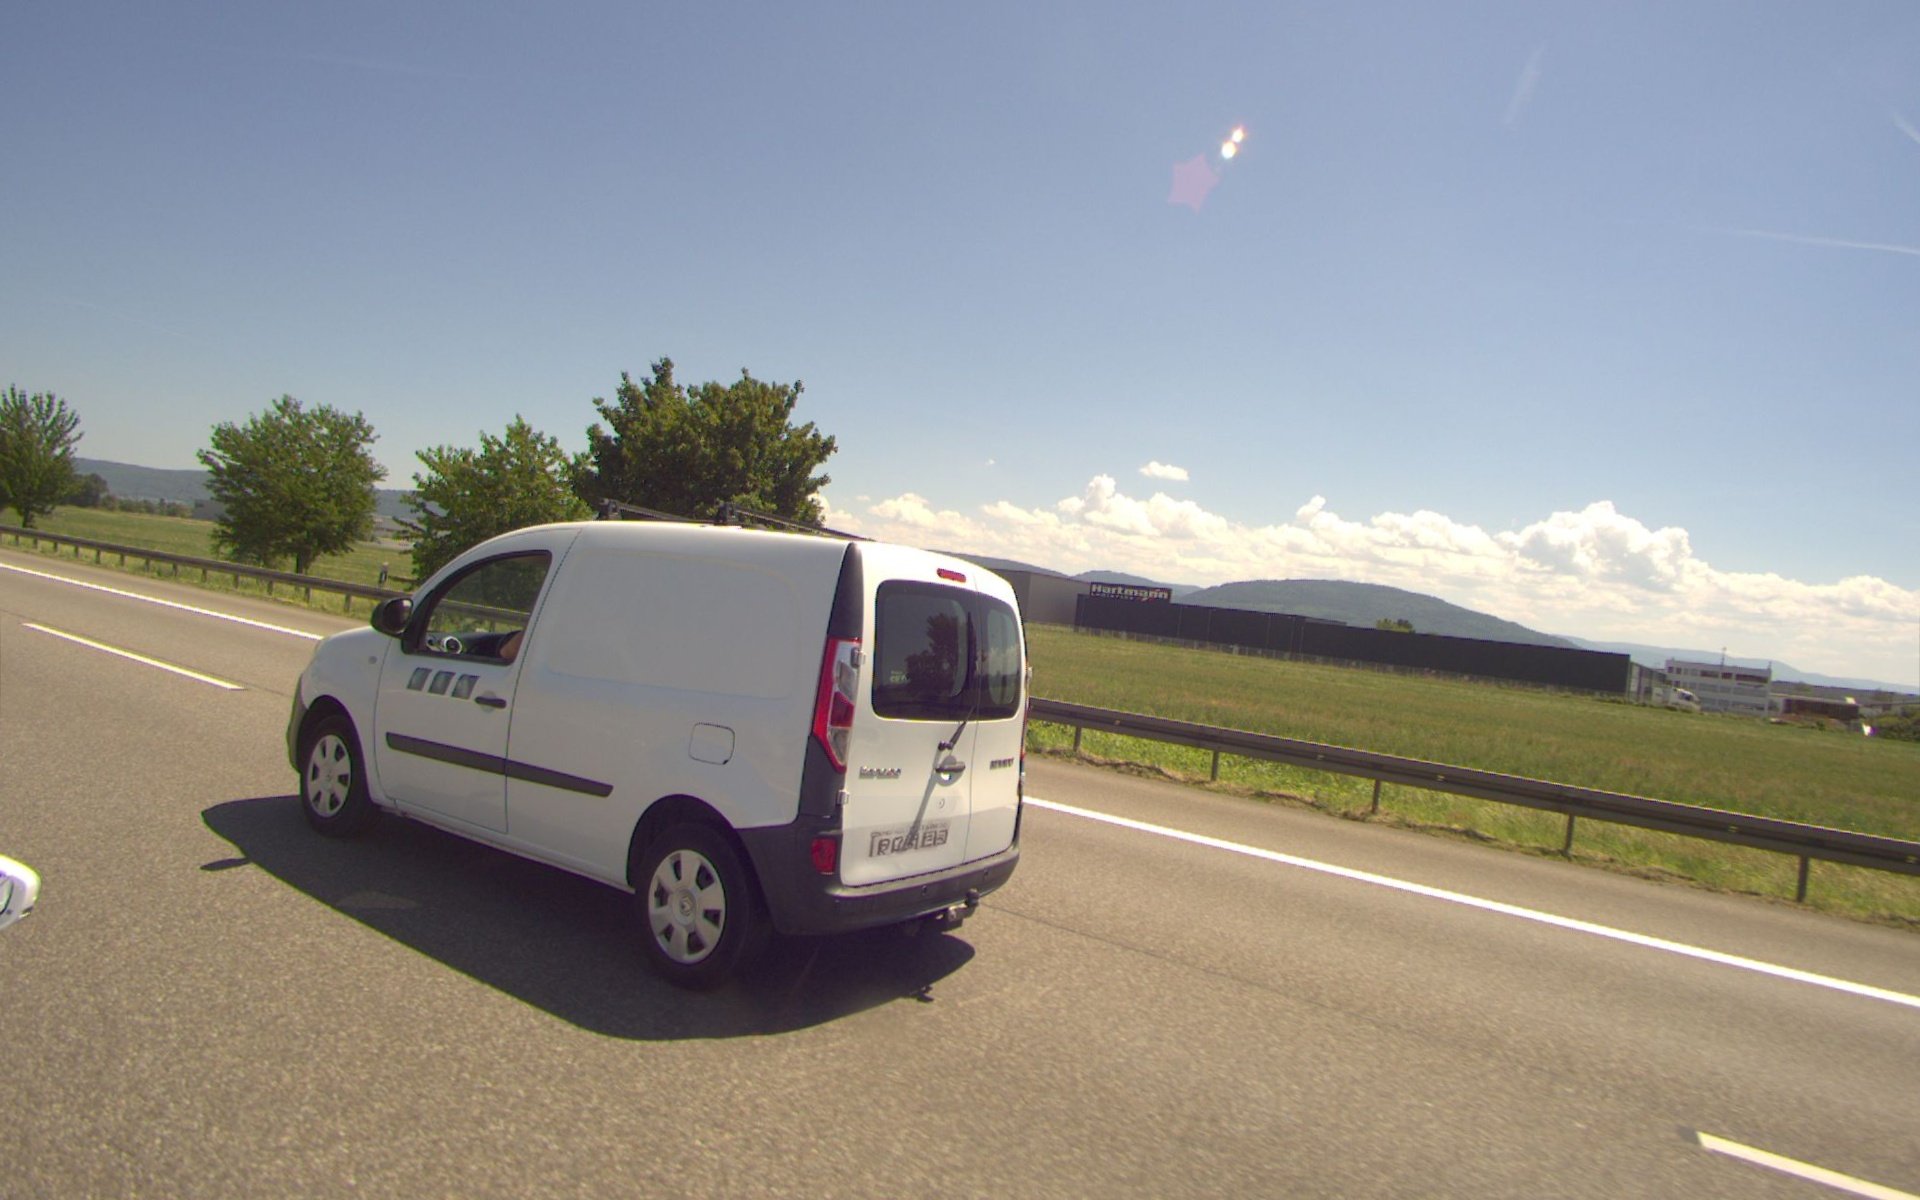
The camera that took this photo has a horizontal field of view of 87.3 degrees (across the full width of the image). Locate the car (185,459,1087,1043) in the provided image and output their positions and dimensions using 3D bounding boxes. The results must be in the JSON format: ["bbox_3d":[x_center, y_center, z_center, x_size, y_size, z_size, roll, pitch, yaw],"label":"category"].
[{"bbox_3d":[-1.910,0.437,5.411,4.623,1.884,1.857,7,-2,31],"label":"car"}]
